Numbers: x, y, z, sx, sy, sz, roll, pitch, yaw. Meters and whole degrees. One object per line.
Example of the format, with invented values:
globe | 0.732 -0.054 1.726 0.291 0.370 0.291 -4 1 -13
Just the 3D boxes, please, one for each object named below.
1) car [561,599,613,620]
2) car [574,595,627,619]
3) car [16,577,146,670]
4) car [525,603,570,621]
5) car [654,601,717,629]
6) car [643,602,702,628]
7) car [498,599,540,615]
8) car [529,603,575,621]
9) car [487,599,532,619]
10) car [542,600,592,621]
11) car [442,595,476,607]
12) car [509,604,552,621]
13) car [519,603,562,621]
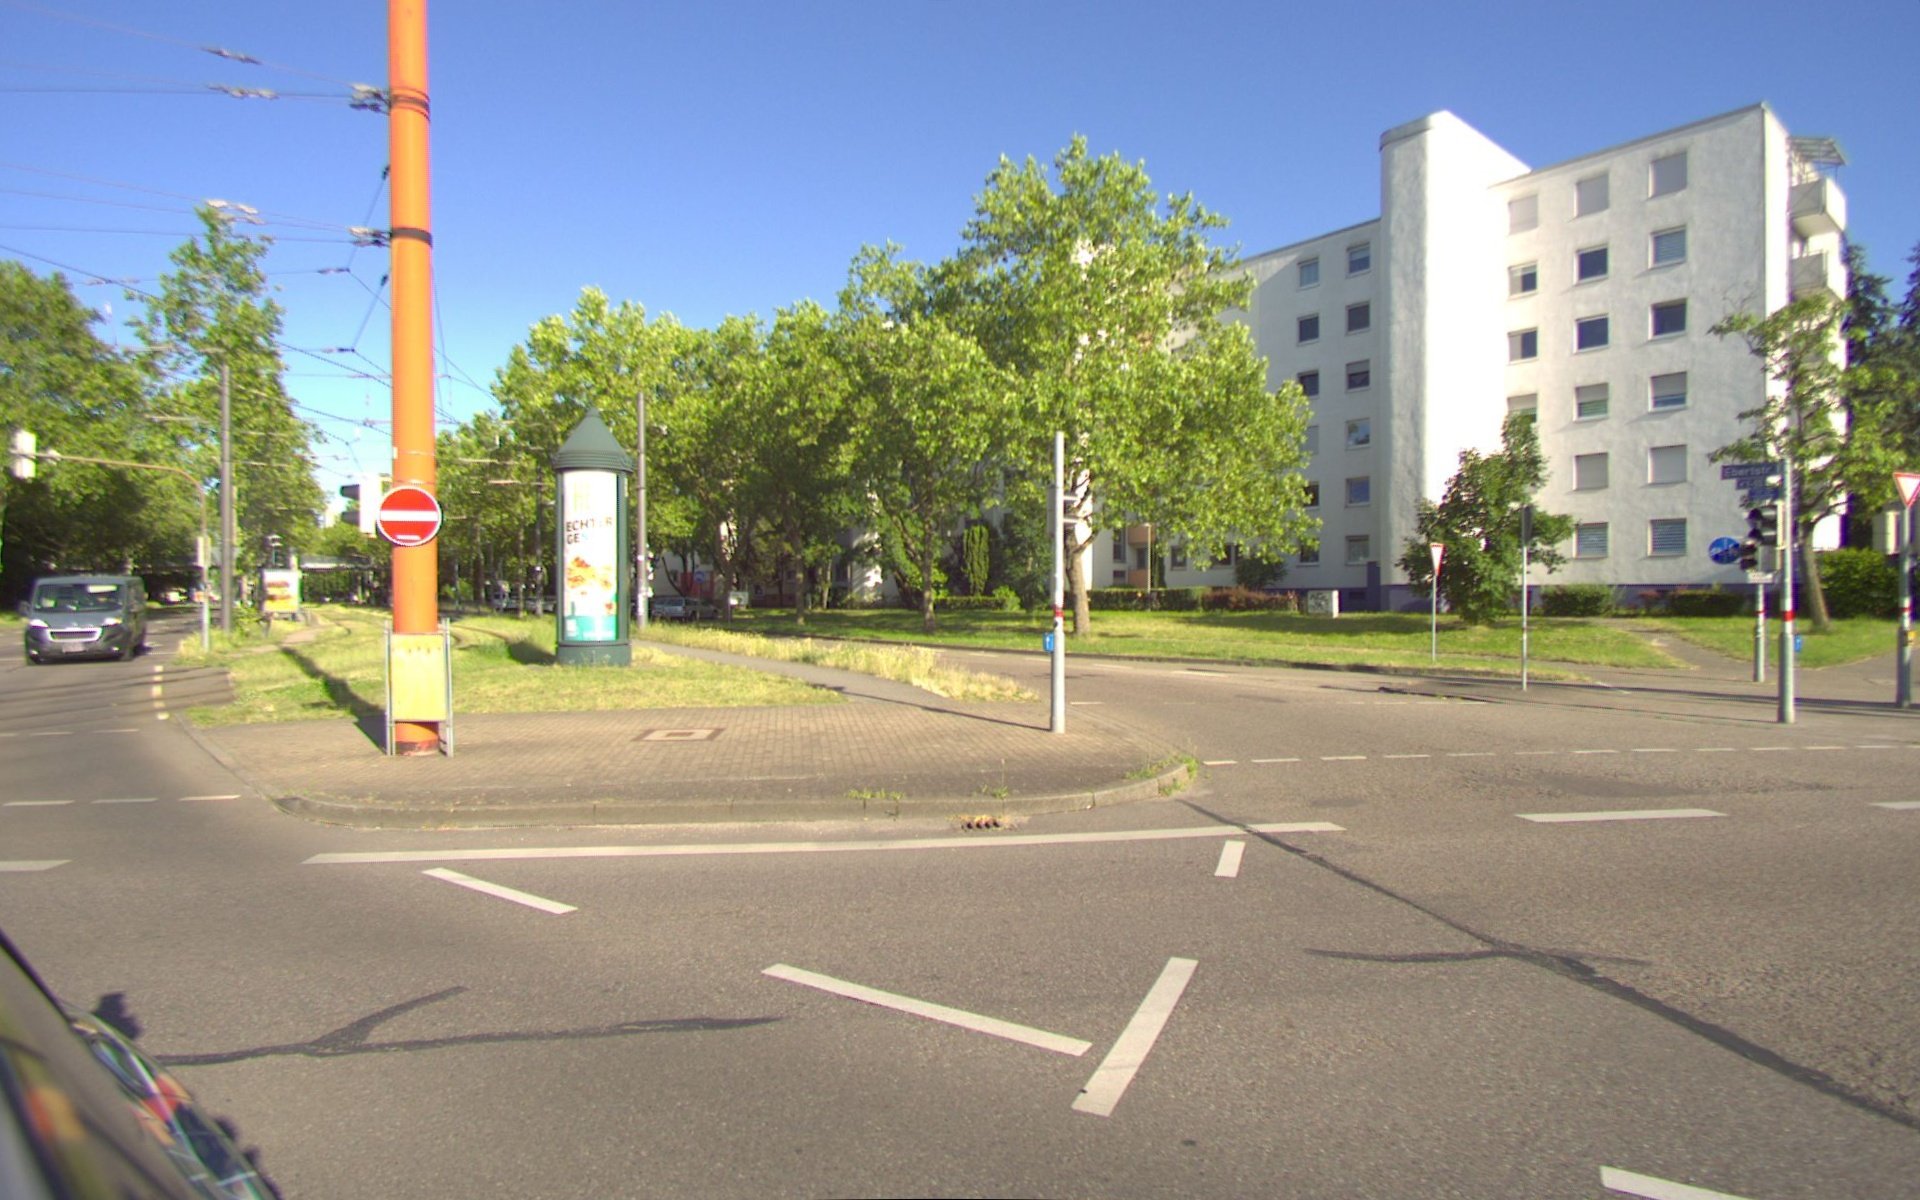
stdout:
car | -29.154 0.759 79.247 1.779 1.510 4.029 -1 0 16
car | -27.091 0.515 76.407 1.779 1.676 4.029 -1 0 16
car | -23.267 0.532 26.997 2.007 2.221 5.676 -1 1 -35
car | -37.416 1.074 91.890 1.777 1.510 4.033 -1 0 13
car | -15.987 0.859 59.133 1.797 1.498 4.031 -1 0 14
car | -17.721 0.900 62.552 1.747 1.498 4.031 -1 0 14
car | -44.435 0.721 102.055 1.777 1.510 4.033 -1 0 13
car | -35.610 1.034 88.477 1.777 1.510 4.033 -1 0 13
car | -46.418 0.890 104.318 2.001 1.933 4.414 -1 0 13
car | -31.845 0.841 82.101 1.779 1.510 4.029 -1 0 16
car | -65.076 0.092 131.579 1.777 1.510 4.033 -1 0 13
car | -40.903 1.194 96.483 1.777 1.510 4.033 -1 0 13
car | -39.169 1.089 94.577 1.777 1.510 4.033 -1 0 13
